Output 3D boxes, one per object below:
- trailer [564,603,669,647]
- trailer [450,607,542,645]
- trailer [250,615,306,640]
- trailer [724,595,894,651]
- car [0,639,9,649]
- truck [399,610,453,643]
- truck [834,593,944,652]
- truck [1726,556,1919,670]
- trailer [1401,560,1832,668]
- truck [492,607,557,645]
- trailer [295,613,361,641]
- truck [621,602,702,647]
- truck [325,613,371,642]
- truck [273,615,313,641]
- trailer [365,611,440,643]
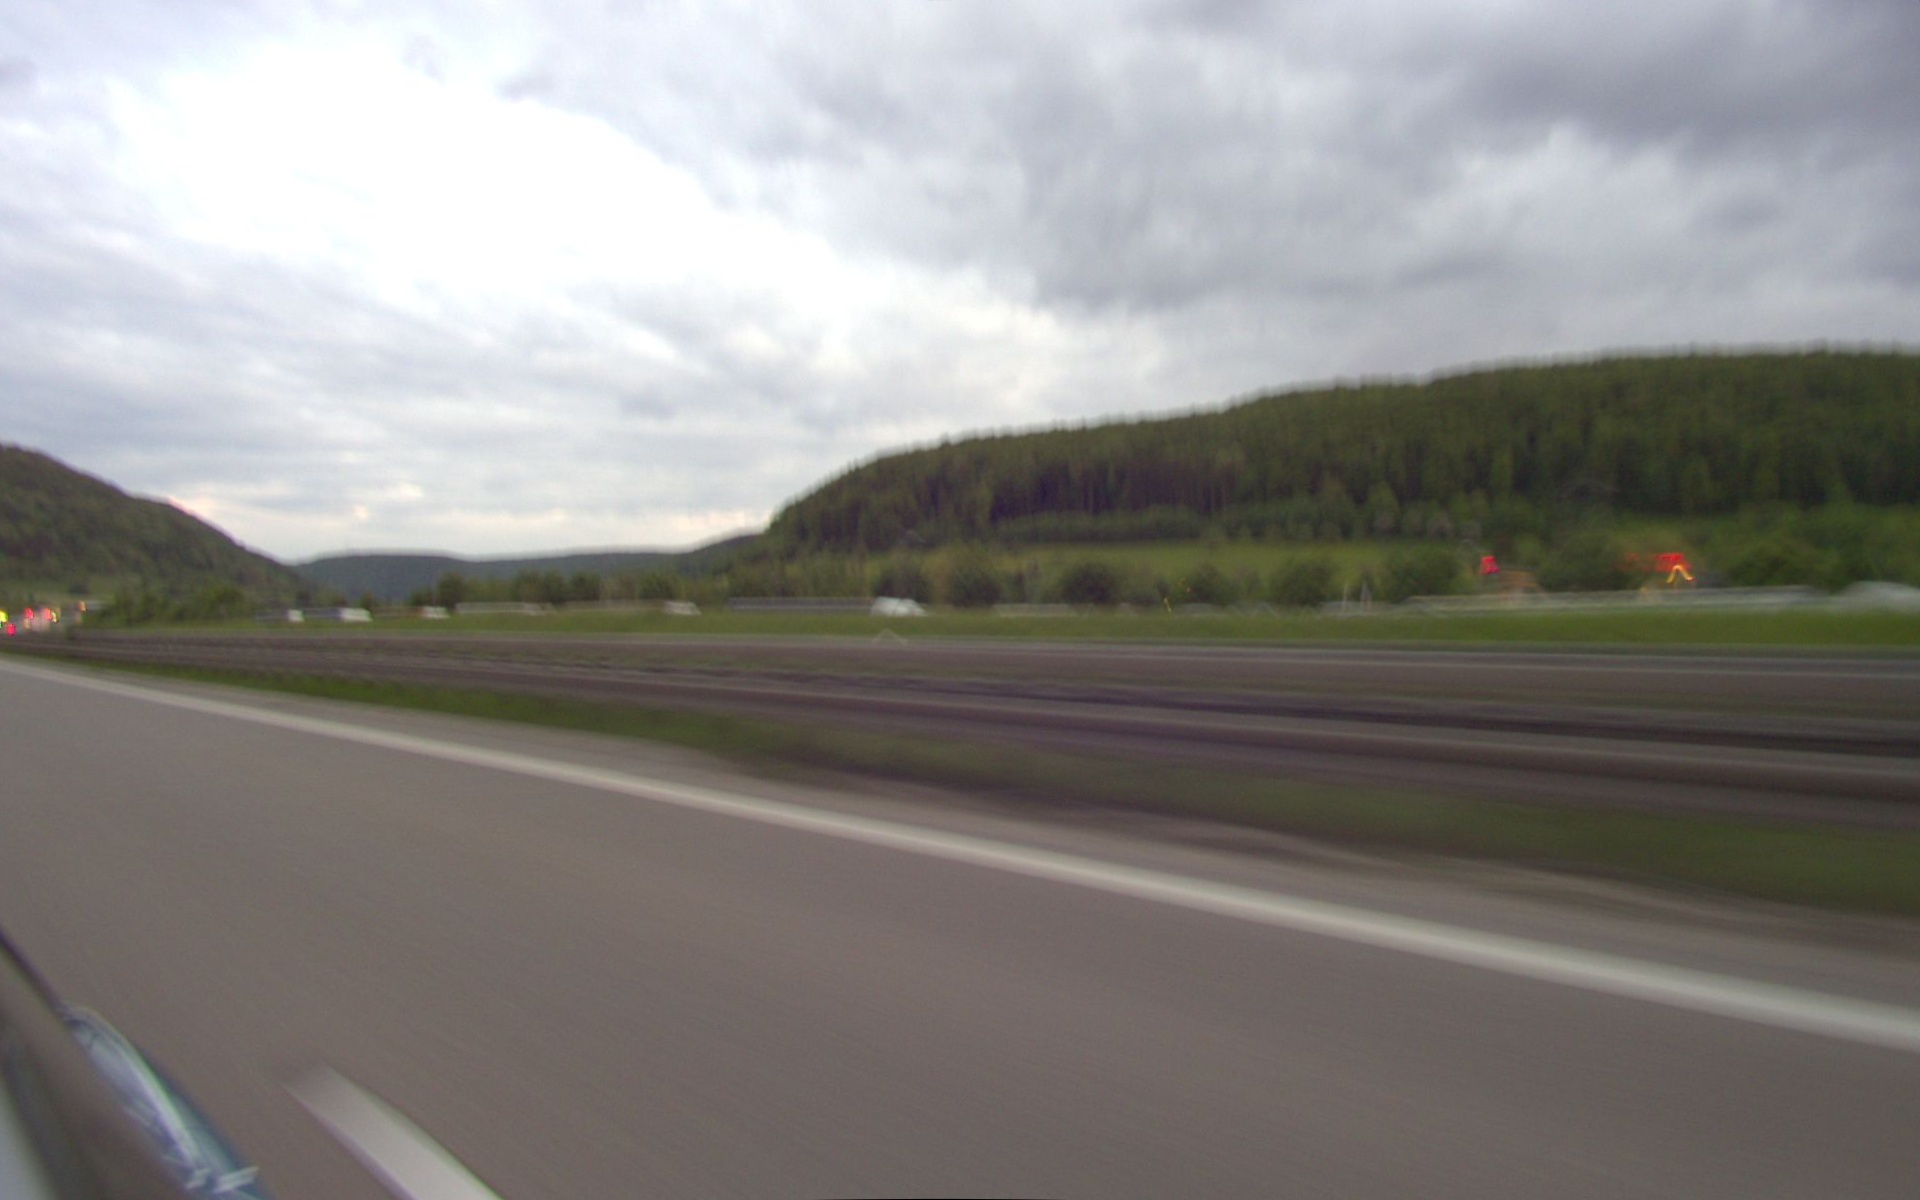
[{"bbox_3d":[-25.907,1.861,75.923,10.152,3.112,2.837,-2,-1,41],"label":"trailer"},{"bbox_3d":[-41.117,2.288,89.388,11.809,3.112,2.837,-2,-1,41],"label":"trailer"},{"bbox_3d":[-88.973,3.636,131.875,13.349,3.112,2.837,-2,-1,41],"label":"trailer"},{"bbox_3d":[-9.440,1.401,61.533,12.479,3.112,2.837,-2,-1,41],"label":"trailer"},{"bbox_3d":[-155.108,7.059,163.357,4.133,1.512,1.831,-2,-4,42],"label":"car"},{"bbox_3d":[-52.871,2.624,100.131,5.890,3.112,2.837,-2,-1,41],"label":"truck"},{"bbox_3d":[-4.044,1.249,56.728,5.890,3.112,2.837,-2,-1,41],"label":"truck"},{"bbox_3d":[25.954,0.398,29.705,5.302,3.112,2.837,-2,-1,41],"label":"truck"},{"bbox_3d":[21.270,0.557,33.746,11.721,3.076,2.843,-2,-2,41],"label":"trailer"},{"bbox_3d":[-36.834,2.168,85.596,5.890,3.112,2.837,-2,-1,41],"label":"truck"},{"bbox_3d":[-74.258,3.221,118.794,13.628,3.112,2.837,-2,-1,41],"label":"trailer"},{"bbox_3d":[-21.197,1.728,71.741,5.890,3.112,2.837,-2,-1,41],"label":"truck"},{"bbox_3d":[-69.065,3.075,114.225,5.839,3.112,2.837,-2,-1,41],"label":"truck"},{"bbox_3d":[-84.131,3.500,127.612,5.890,3.112,2.837,-2,-1,41],"label":"truck"},{"bbox_3d":[-57.481,2.753,104.152,12.192,3.112,2.837,-2,-1,41],"label":"trailer"}]
